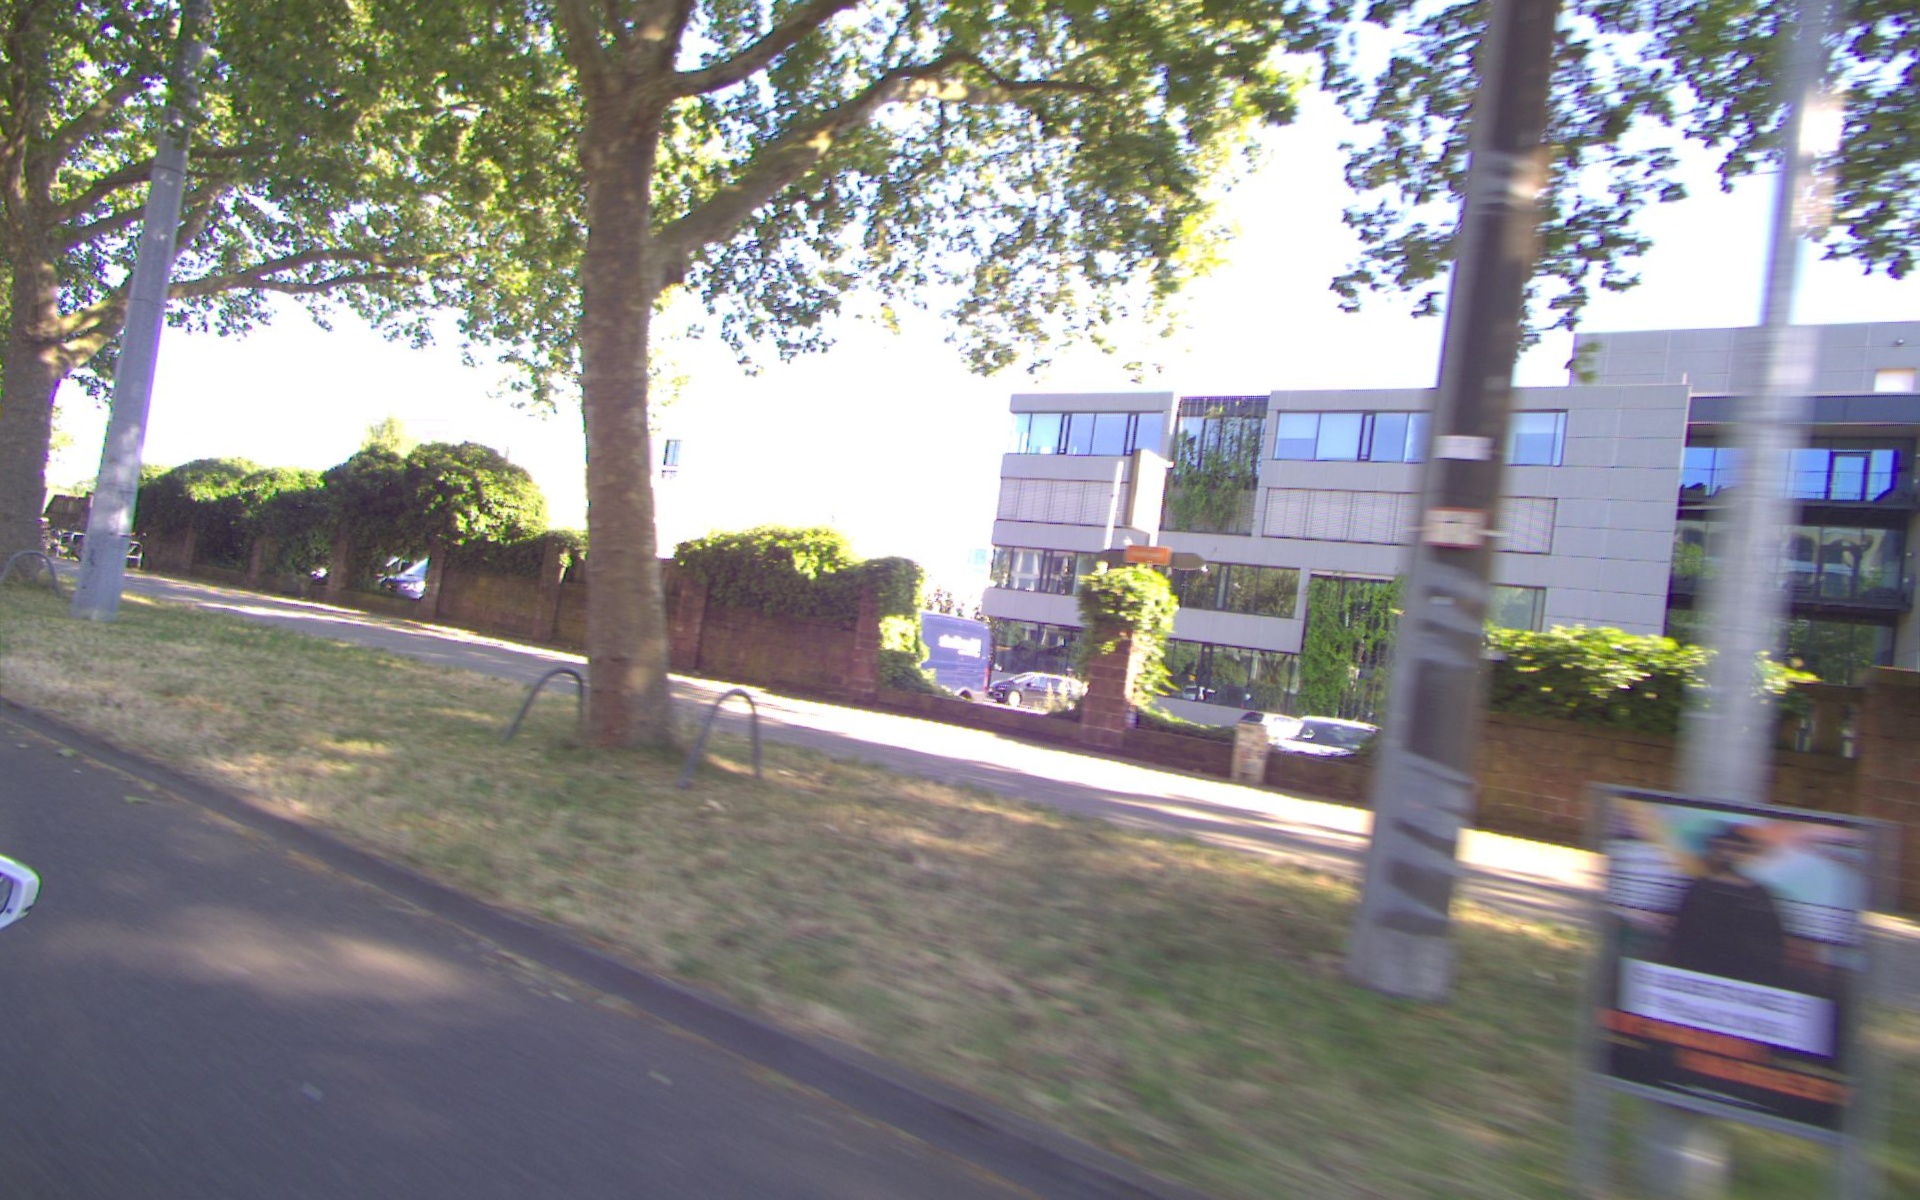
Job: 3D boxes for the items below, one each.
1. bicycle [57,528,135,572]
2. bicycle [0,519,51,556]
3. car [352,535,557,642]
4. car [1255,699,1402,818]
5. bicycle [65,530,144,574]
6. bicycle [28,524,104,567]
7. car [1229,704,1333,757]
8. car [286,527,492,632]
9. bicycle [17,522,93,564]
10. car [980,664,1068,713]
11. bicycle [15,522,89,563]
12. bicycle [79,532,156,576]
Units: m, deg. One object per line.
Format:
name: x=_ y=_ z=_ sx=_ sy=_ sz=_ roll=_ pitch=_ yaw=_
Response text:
bicycle: x=-28.017 y=-1.608 z=32.661 sx=0.432 sy=1.133 sz=1.777 roll=7 pitch=-2 yaw=31
bicycle: x=-33.600 y=-2.243 z=35.755 sx=0.431 sy=1.133 sz=1.779 roll=7 pitch=-2 yaw=25
car: x=-16.215 y=-0.279 z=32.624 sx=1.967 sy=2.516 sz=5.478 roll=6 pitch=-4 yaw=31
car: x=6.552 y=2.699 z=17.731 sx=2.005 sy=1.537 sz=4.122 roll=7 pitch=-3 yaw=23
bicycle: x=-27.272 y=-1.520 z=32.096 sx=0.432 sy=1.133 sz=1.777 roll=7 pitch=-2 yaw=31
bicycle: x=-29.869 y=-1.809 z=33.635 sx=0.432 sy=1.133 sz=1.777 roll=7 pitch=-2 yaw=31
car: x=12.849 y=5.241 z=40.304 sx=3.616 sy=1.538 sz=1.644 roll=9 pitch=-3 yaw=-20
car: x=-18.867 y=-0.603 z=33.568 sx=1.967 sy=2.516 sz=5.478 roll=6 pitch=-4 yaw=31
bicycle: x=-30.765 y=-1.915 z=34.209 sx=0.432 sy=1.133 sz=1.777 roll=7 pitch=-2 yaw=31
car: x=2.864 y=3.971 z=45.363 sx=3.600 sy=1.683 sz=1.651 roll=8 pitch=-3 yaw=-3
bicycle: x=-31.514 y=-1.993 z=34.948 sx=0.432 sy=1.133 sz=1.777 roll=7 pitch=-2 yaw=31
bicycle: x=-26.389 y=-1.423 z=31.538 sx=0.432 sy=1.133 sz=1.691 roll=7 pitch=-2 yaw=31
